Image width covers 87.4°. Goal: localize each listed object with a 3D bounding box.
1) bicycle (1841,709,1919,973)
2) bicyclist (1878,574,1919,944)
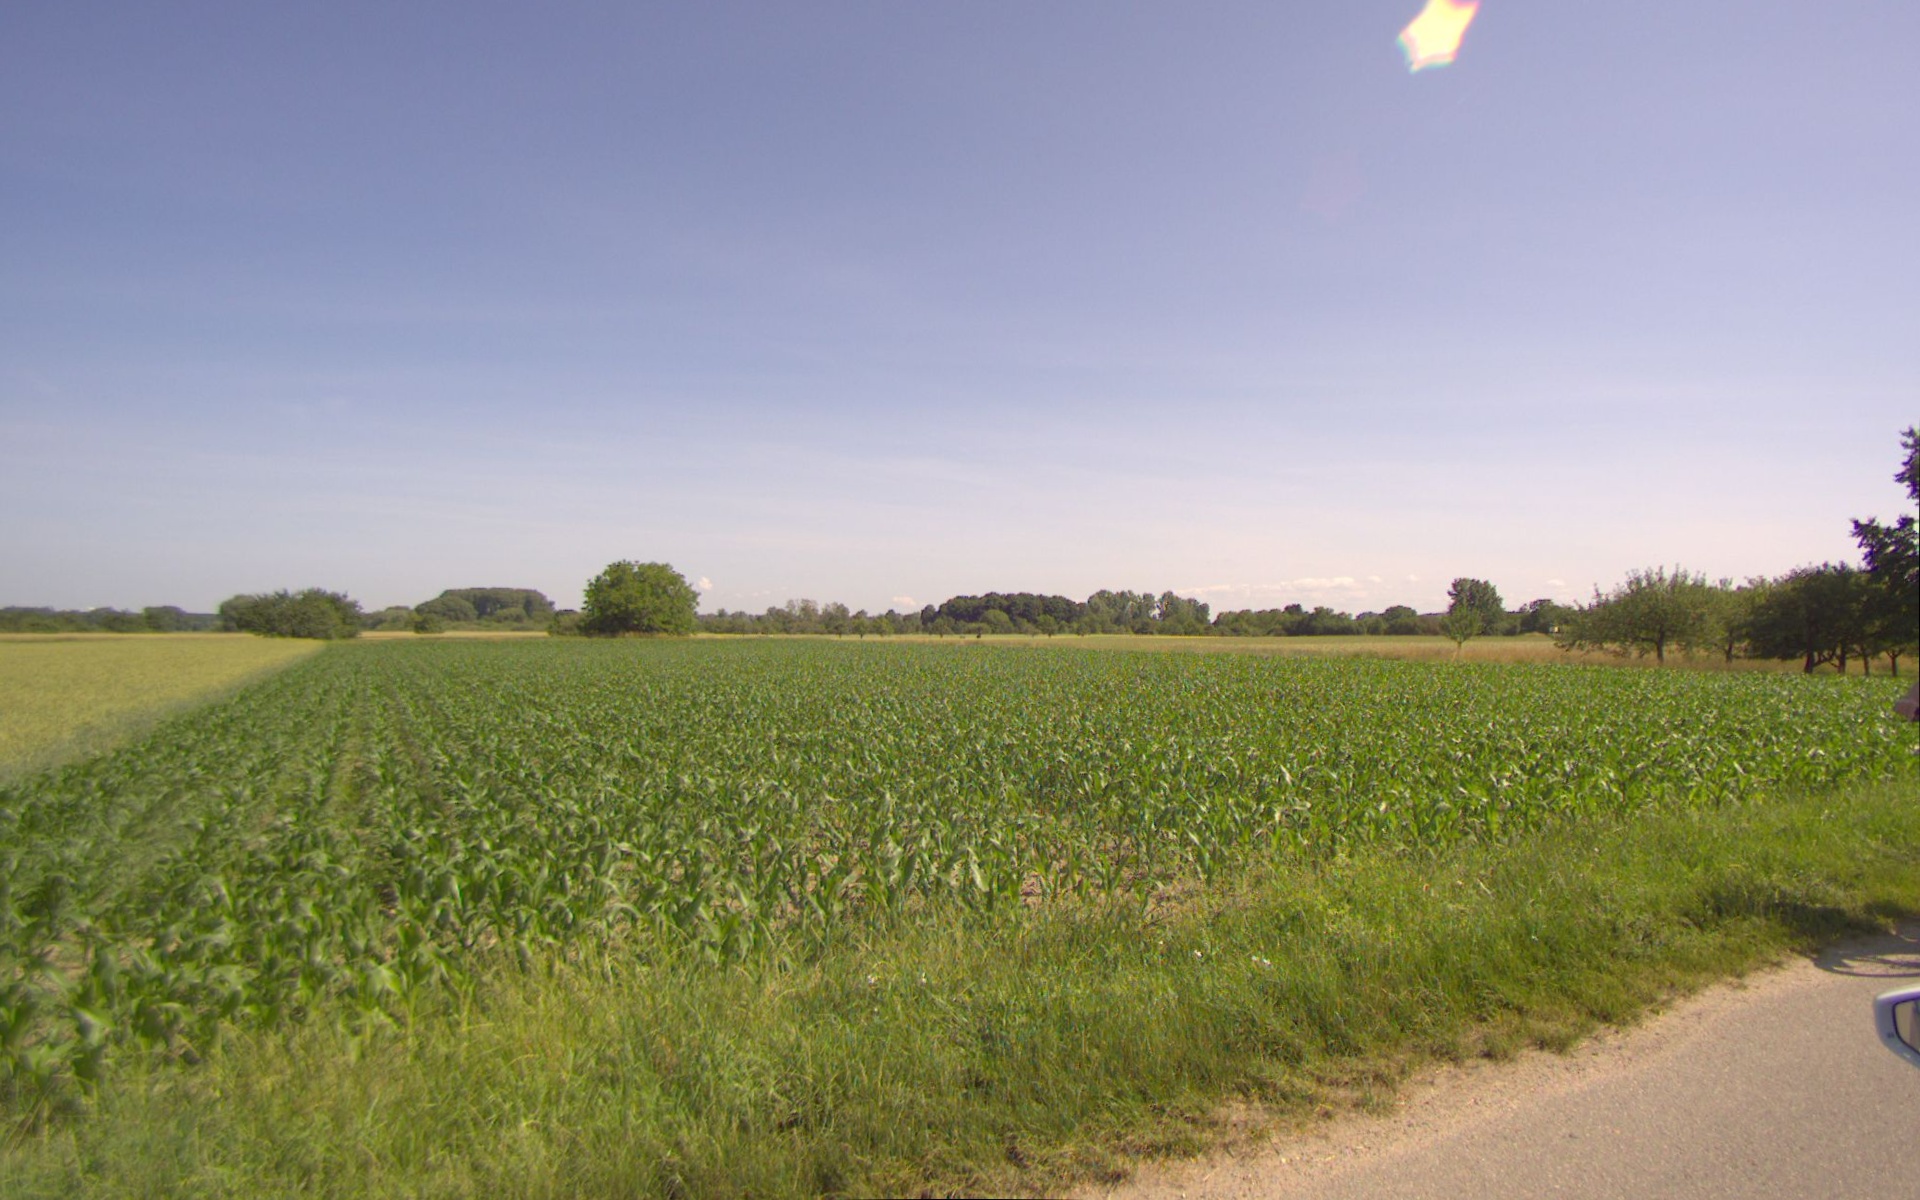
[{"bbox_3d":[5.178,1.122,4.911,1.886,1.142,0.747,2,-4,-31],"label":"bicycle"},{"bbox_3d":[5.149,0.773,4.907,0.708,1.814,0.747,1,-4,-31],"label":"bicyclist"}]
